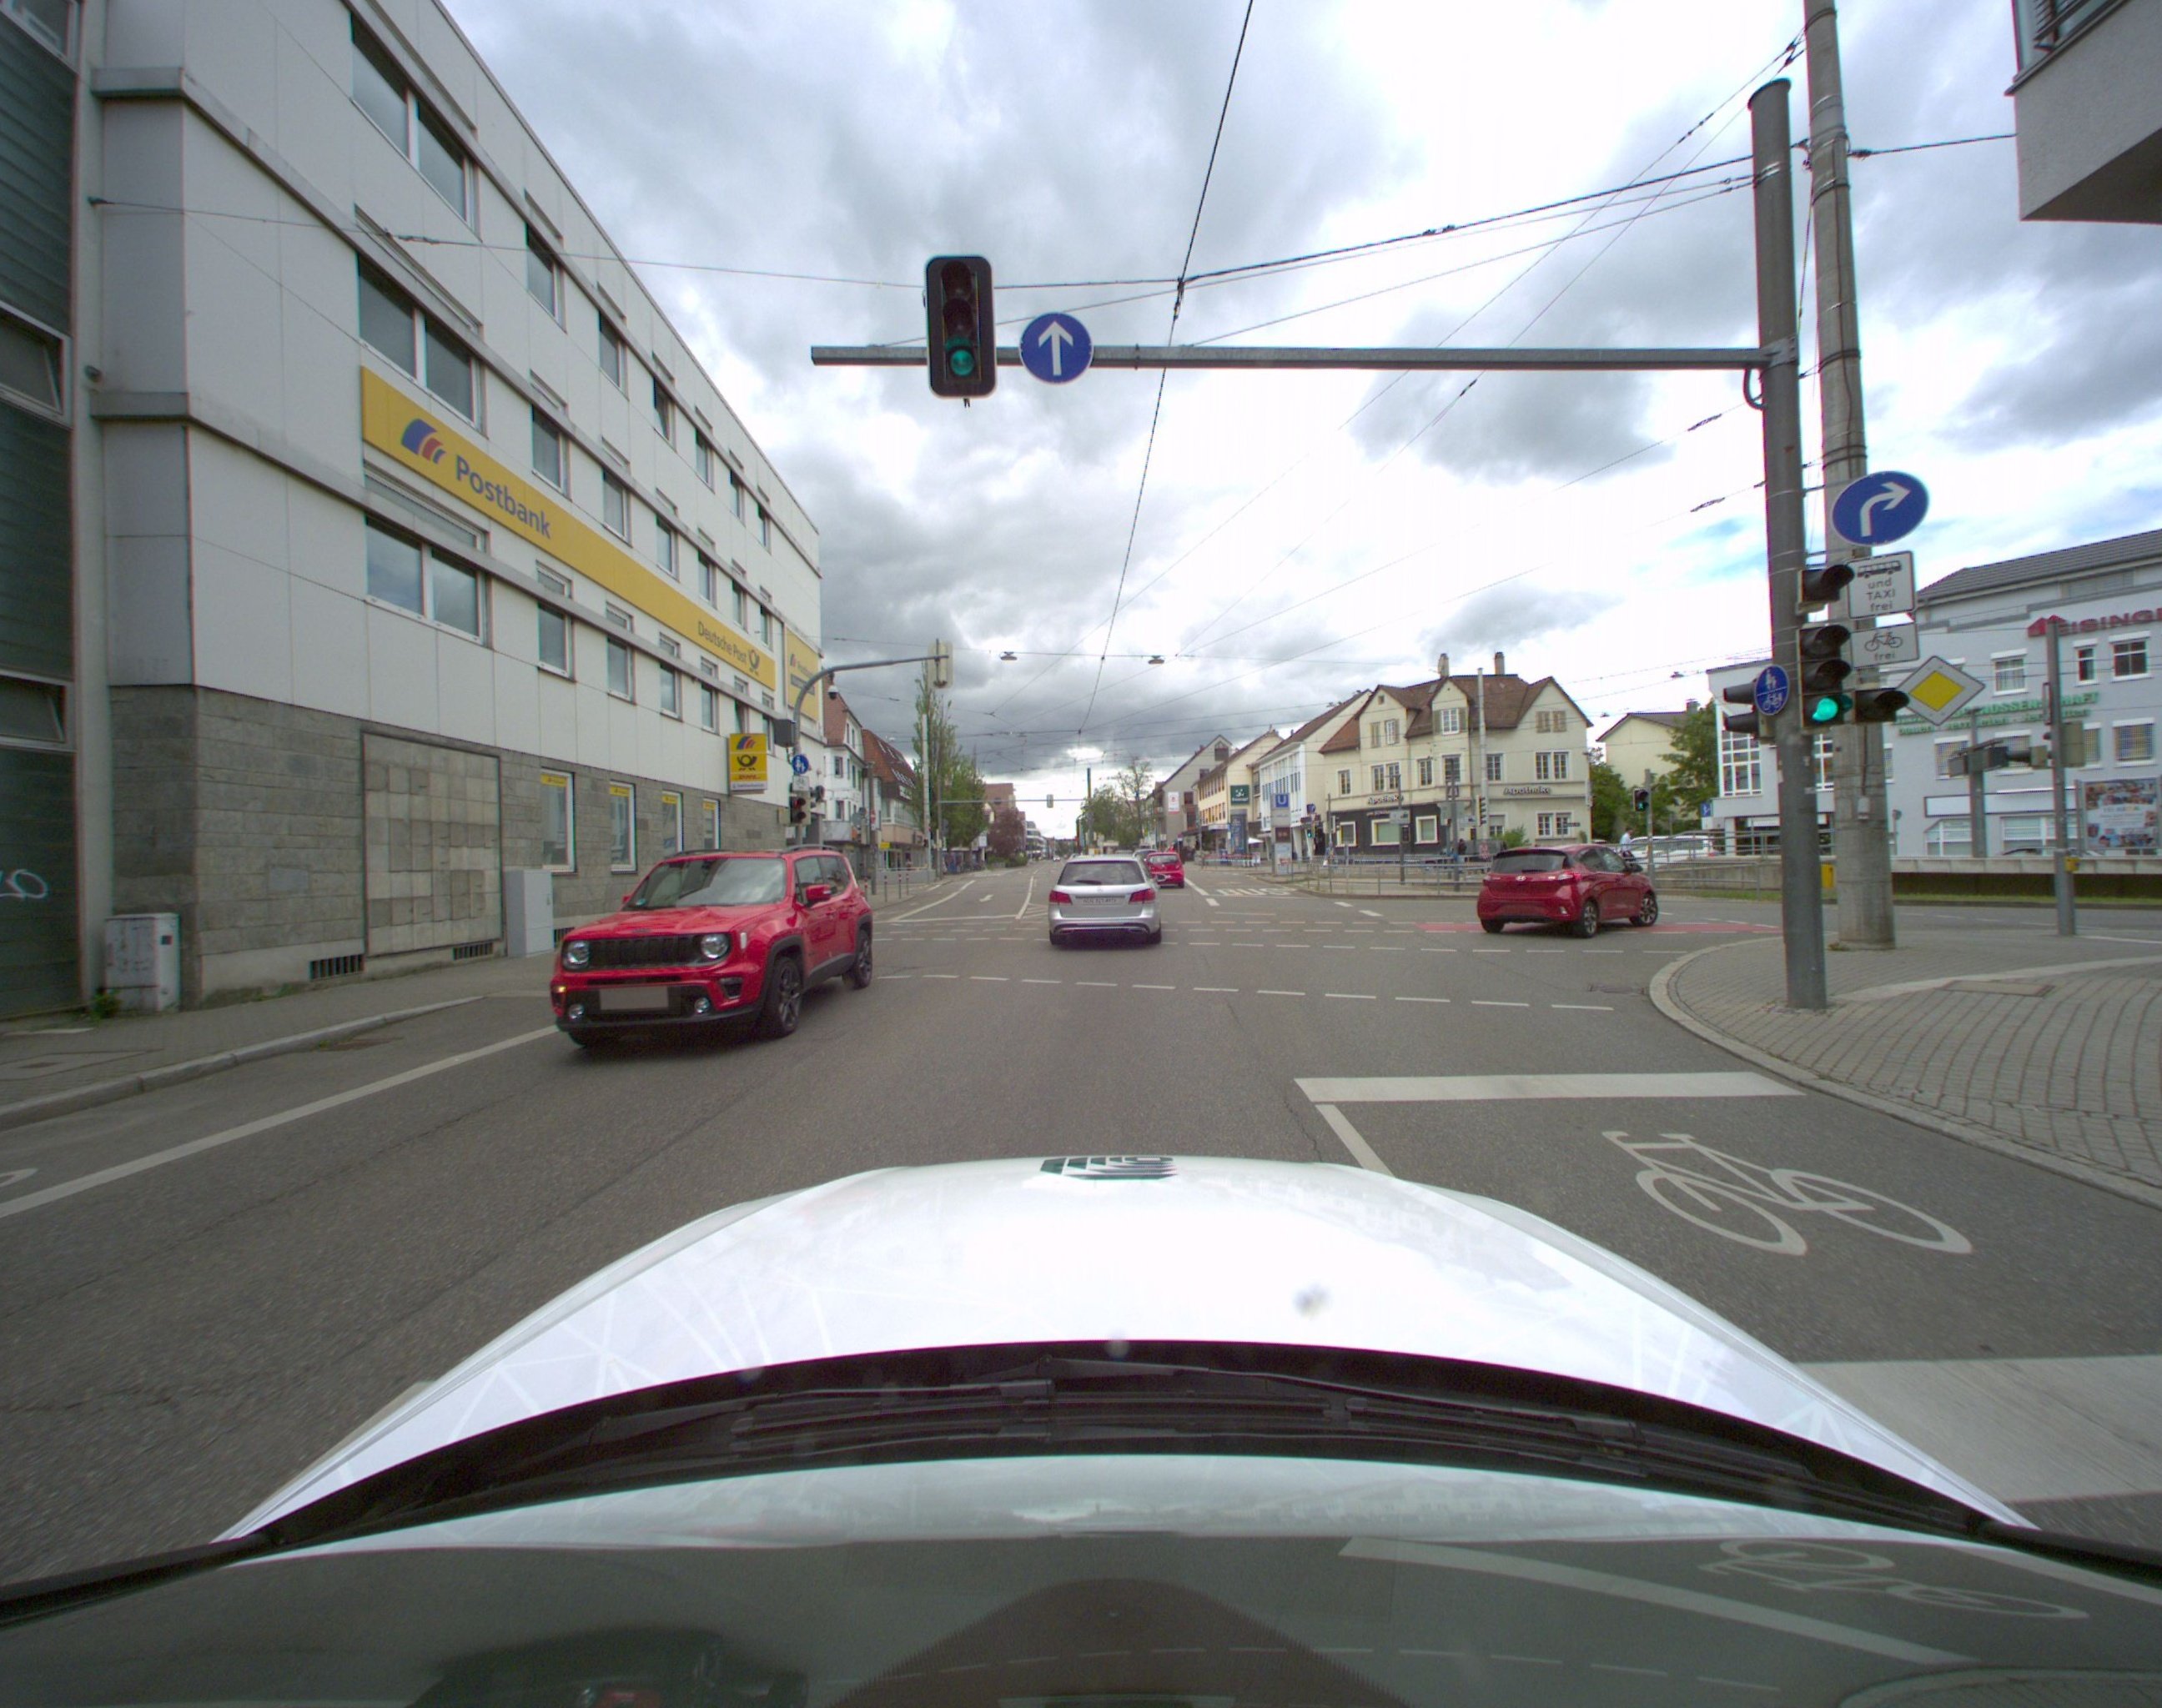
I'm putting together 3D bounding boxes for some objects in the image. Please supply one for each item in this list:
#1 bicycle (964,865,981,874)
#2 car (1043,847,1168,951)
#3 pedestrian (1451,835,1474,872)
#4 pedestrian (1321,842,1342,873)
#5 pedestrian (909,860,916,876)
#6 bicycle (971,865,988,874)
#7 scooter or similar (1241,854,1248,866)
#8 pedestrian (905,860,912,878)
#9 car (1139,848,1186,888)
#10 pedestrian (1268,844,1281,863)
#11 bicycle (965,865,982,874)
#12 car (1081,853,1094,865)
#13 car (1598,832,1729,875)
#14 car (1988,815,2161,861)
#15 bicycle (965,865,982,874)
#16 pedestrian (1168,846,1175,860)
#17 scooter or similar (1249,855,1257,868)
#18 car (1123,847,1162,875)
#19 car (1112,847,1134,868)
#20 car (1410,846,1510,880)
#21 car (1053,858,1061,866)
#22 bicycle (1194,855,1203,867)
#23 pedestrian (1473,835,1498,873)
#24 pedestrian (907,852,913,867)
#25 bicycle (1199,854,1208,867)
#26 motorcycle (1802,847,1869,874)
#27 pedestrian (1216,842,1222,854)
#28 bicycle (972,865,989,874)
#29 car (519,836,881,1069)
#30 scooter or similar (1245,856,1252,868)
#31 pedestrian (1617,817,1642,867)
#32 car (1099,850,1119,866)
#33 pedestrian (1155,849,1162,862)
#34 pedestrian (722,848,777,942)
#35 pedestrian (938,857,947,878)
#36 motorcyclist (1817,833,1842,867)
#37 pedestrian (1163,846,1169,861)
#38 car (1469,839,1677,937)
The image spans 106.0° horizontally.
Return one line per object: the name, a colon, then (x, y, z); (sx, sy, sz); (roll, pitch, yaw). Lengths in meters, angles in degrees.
bicycle: (-12.709, 1.806, 95.458); (1.939, 1.029, 0.528); (-1, -1, -12)
car: (0.498, 0.677, 14.372); (1.838, 1.508, 4.175); (-2, 0, 3)
pedestrian: (18.177, -0.023, 38.801); (0.702, 1.718, 0.648); (-2, 0, -8)
pedestrian: (14.071, 0.200, 45.770); (0.839, 1.718, 0.726); (-2, 0, -5)
pedestrian: (-17.306, 1.432, 83.692); (0.579, 1.606, 0.641); (-2, -1, -15)
bicycle: (-12.213, 1.815, 98.209); (1.939, 1.029, 0.528); (-1, -1, -12)
scooter or similar: (13.347, 0.473, 66.571); (0.271, 1.001, 1.027); (-2, 0, -5)
pedestrian: (-17.436, 1.540, 82.313); (0.643, 1.836, 0.576); (-2, -1, -16)
car: (3.420, 0.540, 33.740); (1.724, 1.508, 4.009); (-2, 0, 8)
pedestrian: (16.392, -0.040, 68.860); (0.643, 1.591, 0.891); (-1, -1, -22)
bicycle: (-12.565, 1.800, 94.870); (1.939, 1.029, 0.528); (-1, -1, -12)
car: (1.109, 0.898, 142.007); (1.989, 2.013, 3.995); (-2, 0, -3)
car: (27.694, 0.006, 38.867); (2.000, 1.919, 4.726); (0, -1, -41)
car: (36.222, -0.533, 29.324); (2.000, 1.471, 4.726); (0, -1, -41)
bicycle: (-12.410, 1.793, 94.216); (1.939, 1.029, 0.528); (-1, -1, -12)
pedestrian: (9.518, -0.094, 85.749); (0.576, 1.469, 0.651); (-1, -1, 0)
scooter or similar: (14.079, 0.629, 66.665); (0.271, 1.001, 1.027); (-2, 0, -5)
car: (3.558, 0.418, 47.920); (1.731, 1.508, 3.994); (-2, 0, -4)
car: (3.708, 0.320, 72.322); (1.729, 1.759, 3.999); (-2, 0, 0)
car: (21.003, 0.530, 45.234); (4.636, 1.821, 1.875); (-2, -2, 43)
car: (-6.271, 2.046, 212.841); (1.989, 2.013, 3.995); (-2, 0, -3)
bicycle: (10.660, 0.636, 73.728); (0.446, 1.091, 2.148); (-2, 0, -1)
pedestrian: (18.666, -0.018, 37.593); (0.787, 1.718, 0.647); (0, 0, -13)
pedestrian: (-18.803, 0.646, 89.743); (0.579, 1.606, 0.641); (-2, -1, -15)
bicycle: (11.107, 0.611, 73.744); (0.446, 1.107, 2.148); (-2, 0, -1)
motorcycle: (31.633, 0.280, 34.169); (0.767, 1.073, 1.957); (0, -2, -41)
pedestrian: (15.108, -0.670, 89.351); (0.532, 1.218, 0.579); (-1, -1, -4)
bicycle: (-11.984, 1.805, 97.244); (1.939, 1.029, 0.528); (-1, -1, -12)
car: (-3.395, 0.753, 8.201); (1.794, 1.694, 3.895); (-3, 0, -1)
scooter or similar: (13.716, 0.635, 66.621); (0.271, 1.001, 1.027); (-2, 0, -5)
pedestrian: (19.441, -0.430, 28.860); (0.641, 1.718, 0.709); (-3, 0, 37)
car: (3.151, 0.499, 93.692); (1.988, 1.750, 3.997); (-2, 0, -2)
pedestrian: (8.665, 0.144, 91.250); (0.577, 1.435, 0.649); (-1, -1, -7)
pedestrian: (-6.213, 0.746, 15.310); (0.644, 1.718, 0.784); (-1, 0, 5)
pedestrian: (-10.817, 1.048, 63.638); (0.635, 1.606, 0.701); (-2, -1, -15)
motorcyclist: (31.524, -0.152, 34.299); (0.767, 1.394, 0.685); (0, -2, -41)
pedestrian: (9.283, -0.027, 89.136); (0.575, 1.666, 0.652); (-1, -1, 4)
car: (8.643, 0.498, 14.194); (4.018, 1.452, 1.685); (-1, 0, -37)
